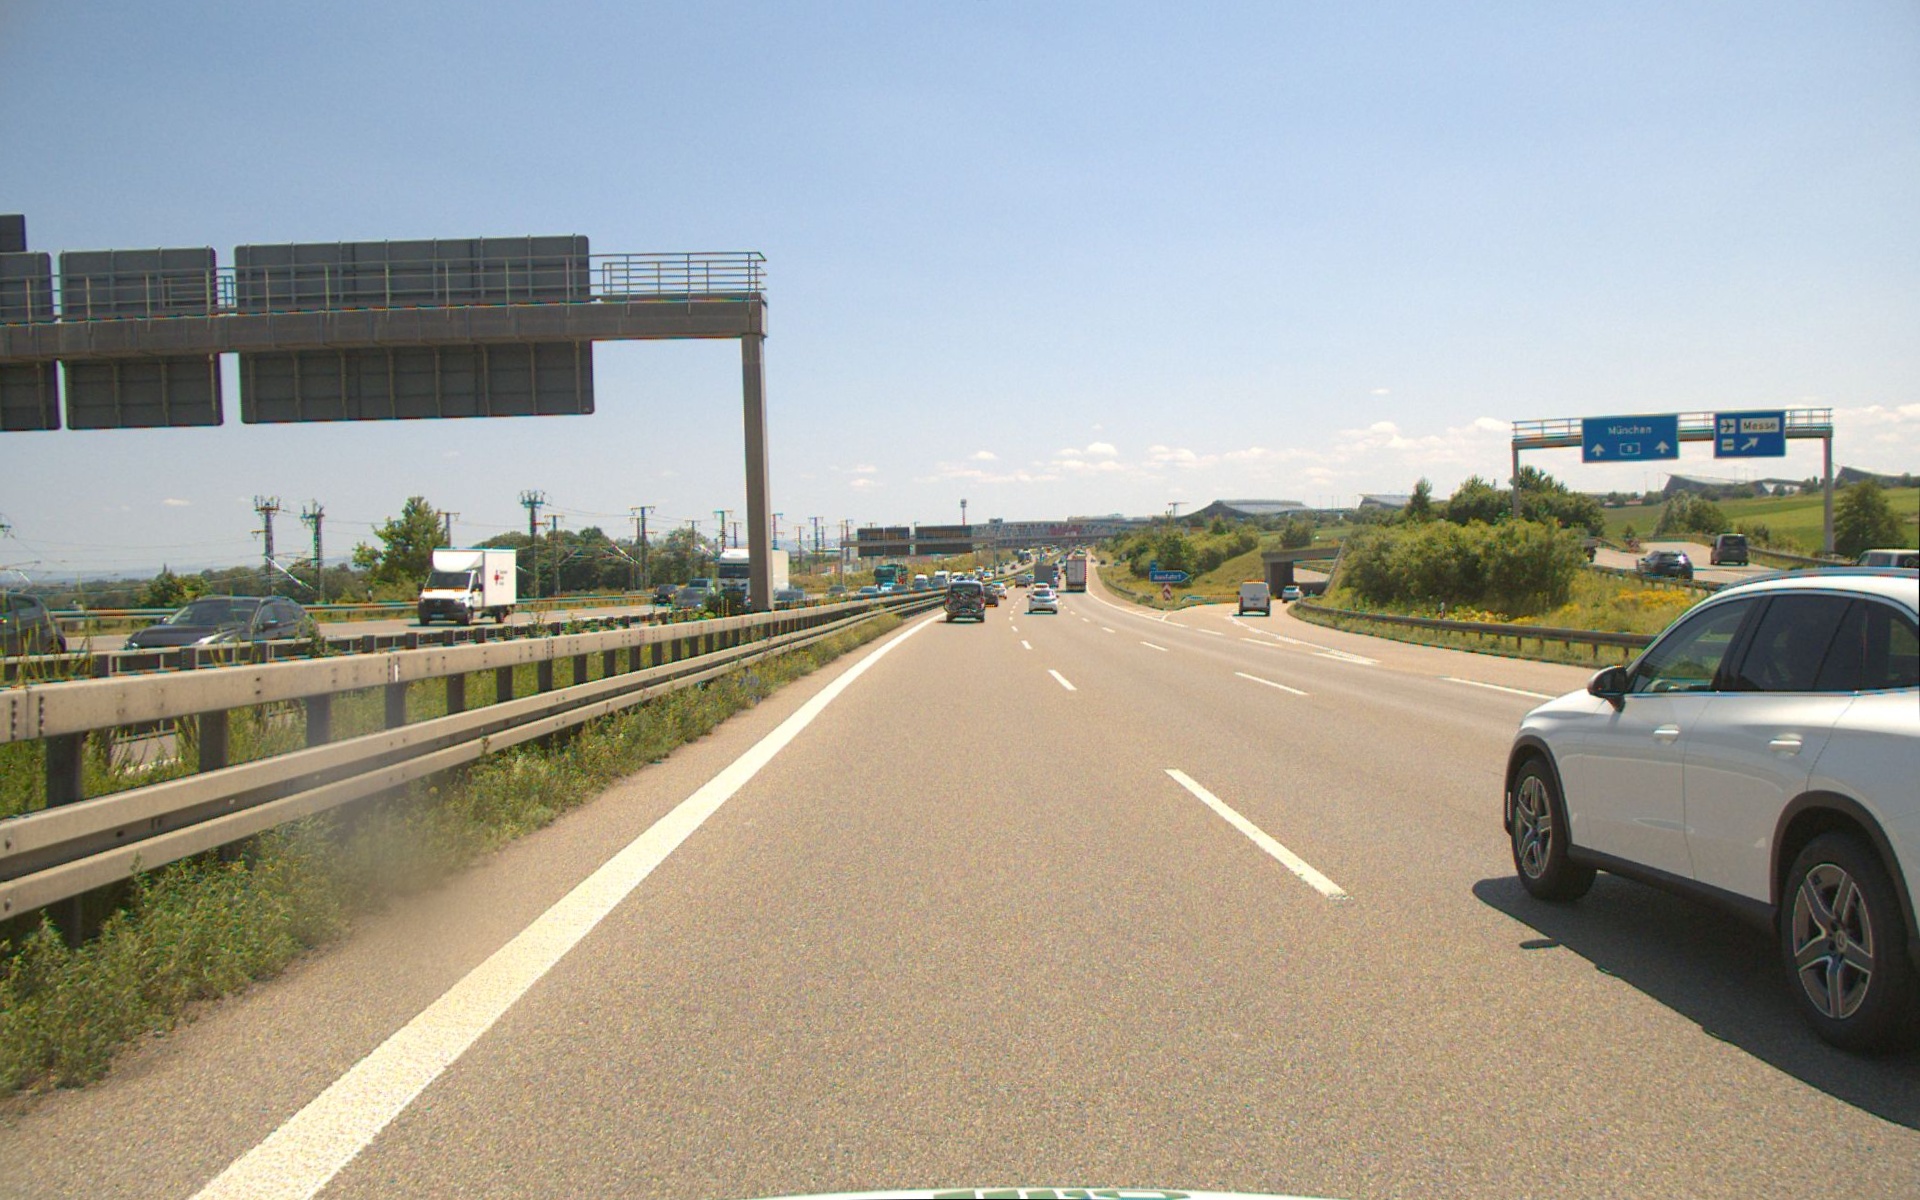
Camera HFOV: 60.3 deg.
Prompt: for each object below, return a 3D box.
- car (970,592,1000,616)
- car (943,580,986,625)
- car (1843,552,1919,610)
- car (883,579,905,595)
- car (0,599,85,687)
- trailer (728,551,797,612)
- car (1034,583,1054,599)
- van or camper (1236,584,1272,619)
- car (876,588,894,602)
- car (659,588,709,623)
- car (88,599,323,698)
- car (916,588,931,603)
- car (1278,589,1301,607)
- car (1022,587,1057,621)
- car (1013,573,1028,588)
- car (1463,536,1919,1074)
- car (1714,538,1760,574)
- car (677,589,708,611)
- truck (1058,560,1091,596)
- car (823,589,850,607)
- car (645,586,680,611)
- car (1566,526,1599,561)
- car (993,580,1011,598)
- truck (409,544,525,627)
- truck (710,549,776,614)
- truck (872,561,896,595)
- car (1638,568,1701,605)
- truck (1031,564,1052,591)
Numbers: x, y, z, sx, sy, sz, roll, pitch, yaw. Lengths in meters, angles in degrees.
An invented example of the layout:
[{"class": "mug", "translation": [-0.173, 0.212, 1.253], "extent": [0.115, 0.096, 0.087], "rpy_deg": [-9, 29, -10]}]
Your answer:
[{"class": "car", "translation": [1.865, 0.290, 119.858], "extent": [1.886, 1.656, 4.520], "rpy_deg": [0, -1, 4]}, {"class": "car", "translation": [0.217, 0.125, 74.886], "extent": [1.887, 1.952, 4.948], "rpy_deg": [0, -1, 0]}, {"class": "car", "translation": [33.059, -0.636, 58.550], "extent": [1.897, 1.957, 4.182], "rpy_deg": [0, -1, 8]}, {"class": "car", "translation": [-6.256, -1.221, 157.183], "extent": [1.803, 1.486, 4.998], "rpy_deg": [0, 1, 1]}, {"class": "car", "translation": [-16.906, 0.714, 28.191], "extent": [1.866, 1.445, 4.000], "rpy_deg": [0, 0, 0]}, {"class": "trailer", "translation": [-14.499, -1.278, 122.562], "extent": [3.155, 4.266, 11.413], "rpy_deg": [0, 0, 3]}, {"class": "car", "translation": [8.098, -0.841, 160.035], "extent": [1.940, 1.499, 4.001], "rpy_deg": [0, 0, 2]}, {"class": "van or camper", "translation": [17.678, 0.117, 99.543], "extent": [2.110, 2.049, 4.308], "rpy_deg": [0, -1, 9]}, {"class": "car", "translation": [-8.416, -0.539, 185.286], "extent": [1.720, 1.507, 4.635], "rpy_deg": [0, 1, 1]}, {"class": "car", "translation": [-13.002, 0.230, 78.051], "extent": [1.707, 1.588, 4.000], "rpy_deg": [0, 0, 0]}, {"class": "car", "translation": [-12.576, 0.743, 27.949], "extent": [1.753, 1.490, 4.859], "rpy_deg": [0, 0, 0]}, {"class": "car", "translation": [-4.439, -0.541, 202.061], "extent": [1.720, 1.772, 4.722], "rpy_deg": [0, 0, 1]}, {"class": "car", "translation": [34.253, -0.200, 171.761], "extent": [1.951, 1.780, 4.002], "rpy_deg": [0, -1, 18]}, {"class": "car", "translation": [4.668, 0.224, 97.779], "extent": [1.887, 1.952, 4.518], "rpy_deg": [0, -1, 1]}, {"class": "car", "translation": [9.082, -2.949, 247.679], "extent": [2.141, 2.037, 4.002], "rpy_deg": [0, 3, 1]}, {"class": "car", "translation": [3.890, 0.657, 7.130], "extent": [1.859, 1.676, 4.997], "rpy_deg": [0, 0, -1]}, {"class": "car", "translation": [45.646, -2.553, 97.245], "extent": [1.898, 1.957, 4.181], "rpy_deg": [0, -1, 17]}, {"class": "car", "translation": [-21.794, 0.041, 134.991], "extent": [1.767, 1.779, 4.001], "rpy_deg": [0, -1, 2]}, {"class": "truck", "translation": [14.581, -2.852, 211.678], "extent": [3.955, 4.336, 11.763], "rpy_deg": [0, 2, 2]}, {"class": "car", "translation": [-10.592, -0.198, 141.761], "extent": [1.803, 1.486, 4.998], "rpy_deg": [0, 1, 1]}, {"class": "car", "translation": [-21.985, -0.111, 122.271], "extent": [1.767, 1.779, 4.001], "rpy_deg": [0, -1, 2]}, {"class": "car", "translation": [40.106, -3.632, 106.651], "extent": [1.952, 2.049, 4.000], "rpy_deg": [0, -1, 21]}, {"class": "car", "translation": [3.954, -1.029, 156.528], "extent": [1.543, 1.579, 3.966], "rpy_deg": [0, -1, 4]}, {"class": "truck", "translation": [-20.116, -0.593, 67.996], "extent": [2.272, 3.222, 8.113], "rpy_deg": [0, 0, 0]}, {"class": "truck", "translation": [-14.918, -1.259, 114.217], "extent": [3.180, 4.283, 7.696], "rpy_deg": [0, 0, 3]}, {"class": "truck", "translation": [-9.984, -2.877, 217.002], "extent": [2.702, 4.319, 6.978], "rpy_deg": [0, -1, 0]}, {"class": "car", "translation": [32.624, -0.612, 76.141], "extent": [1.951, 1.624, 4.003], "rpy_deg": [0, -1, 12]}, {"class": "truck", "translation": [10.376, -2.798, 211.320], "extent": [2.646, 3.163, 10.662], "rpy_deg": [0, 0, 3]}]
